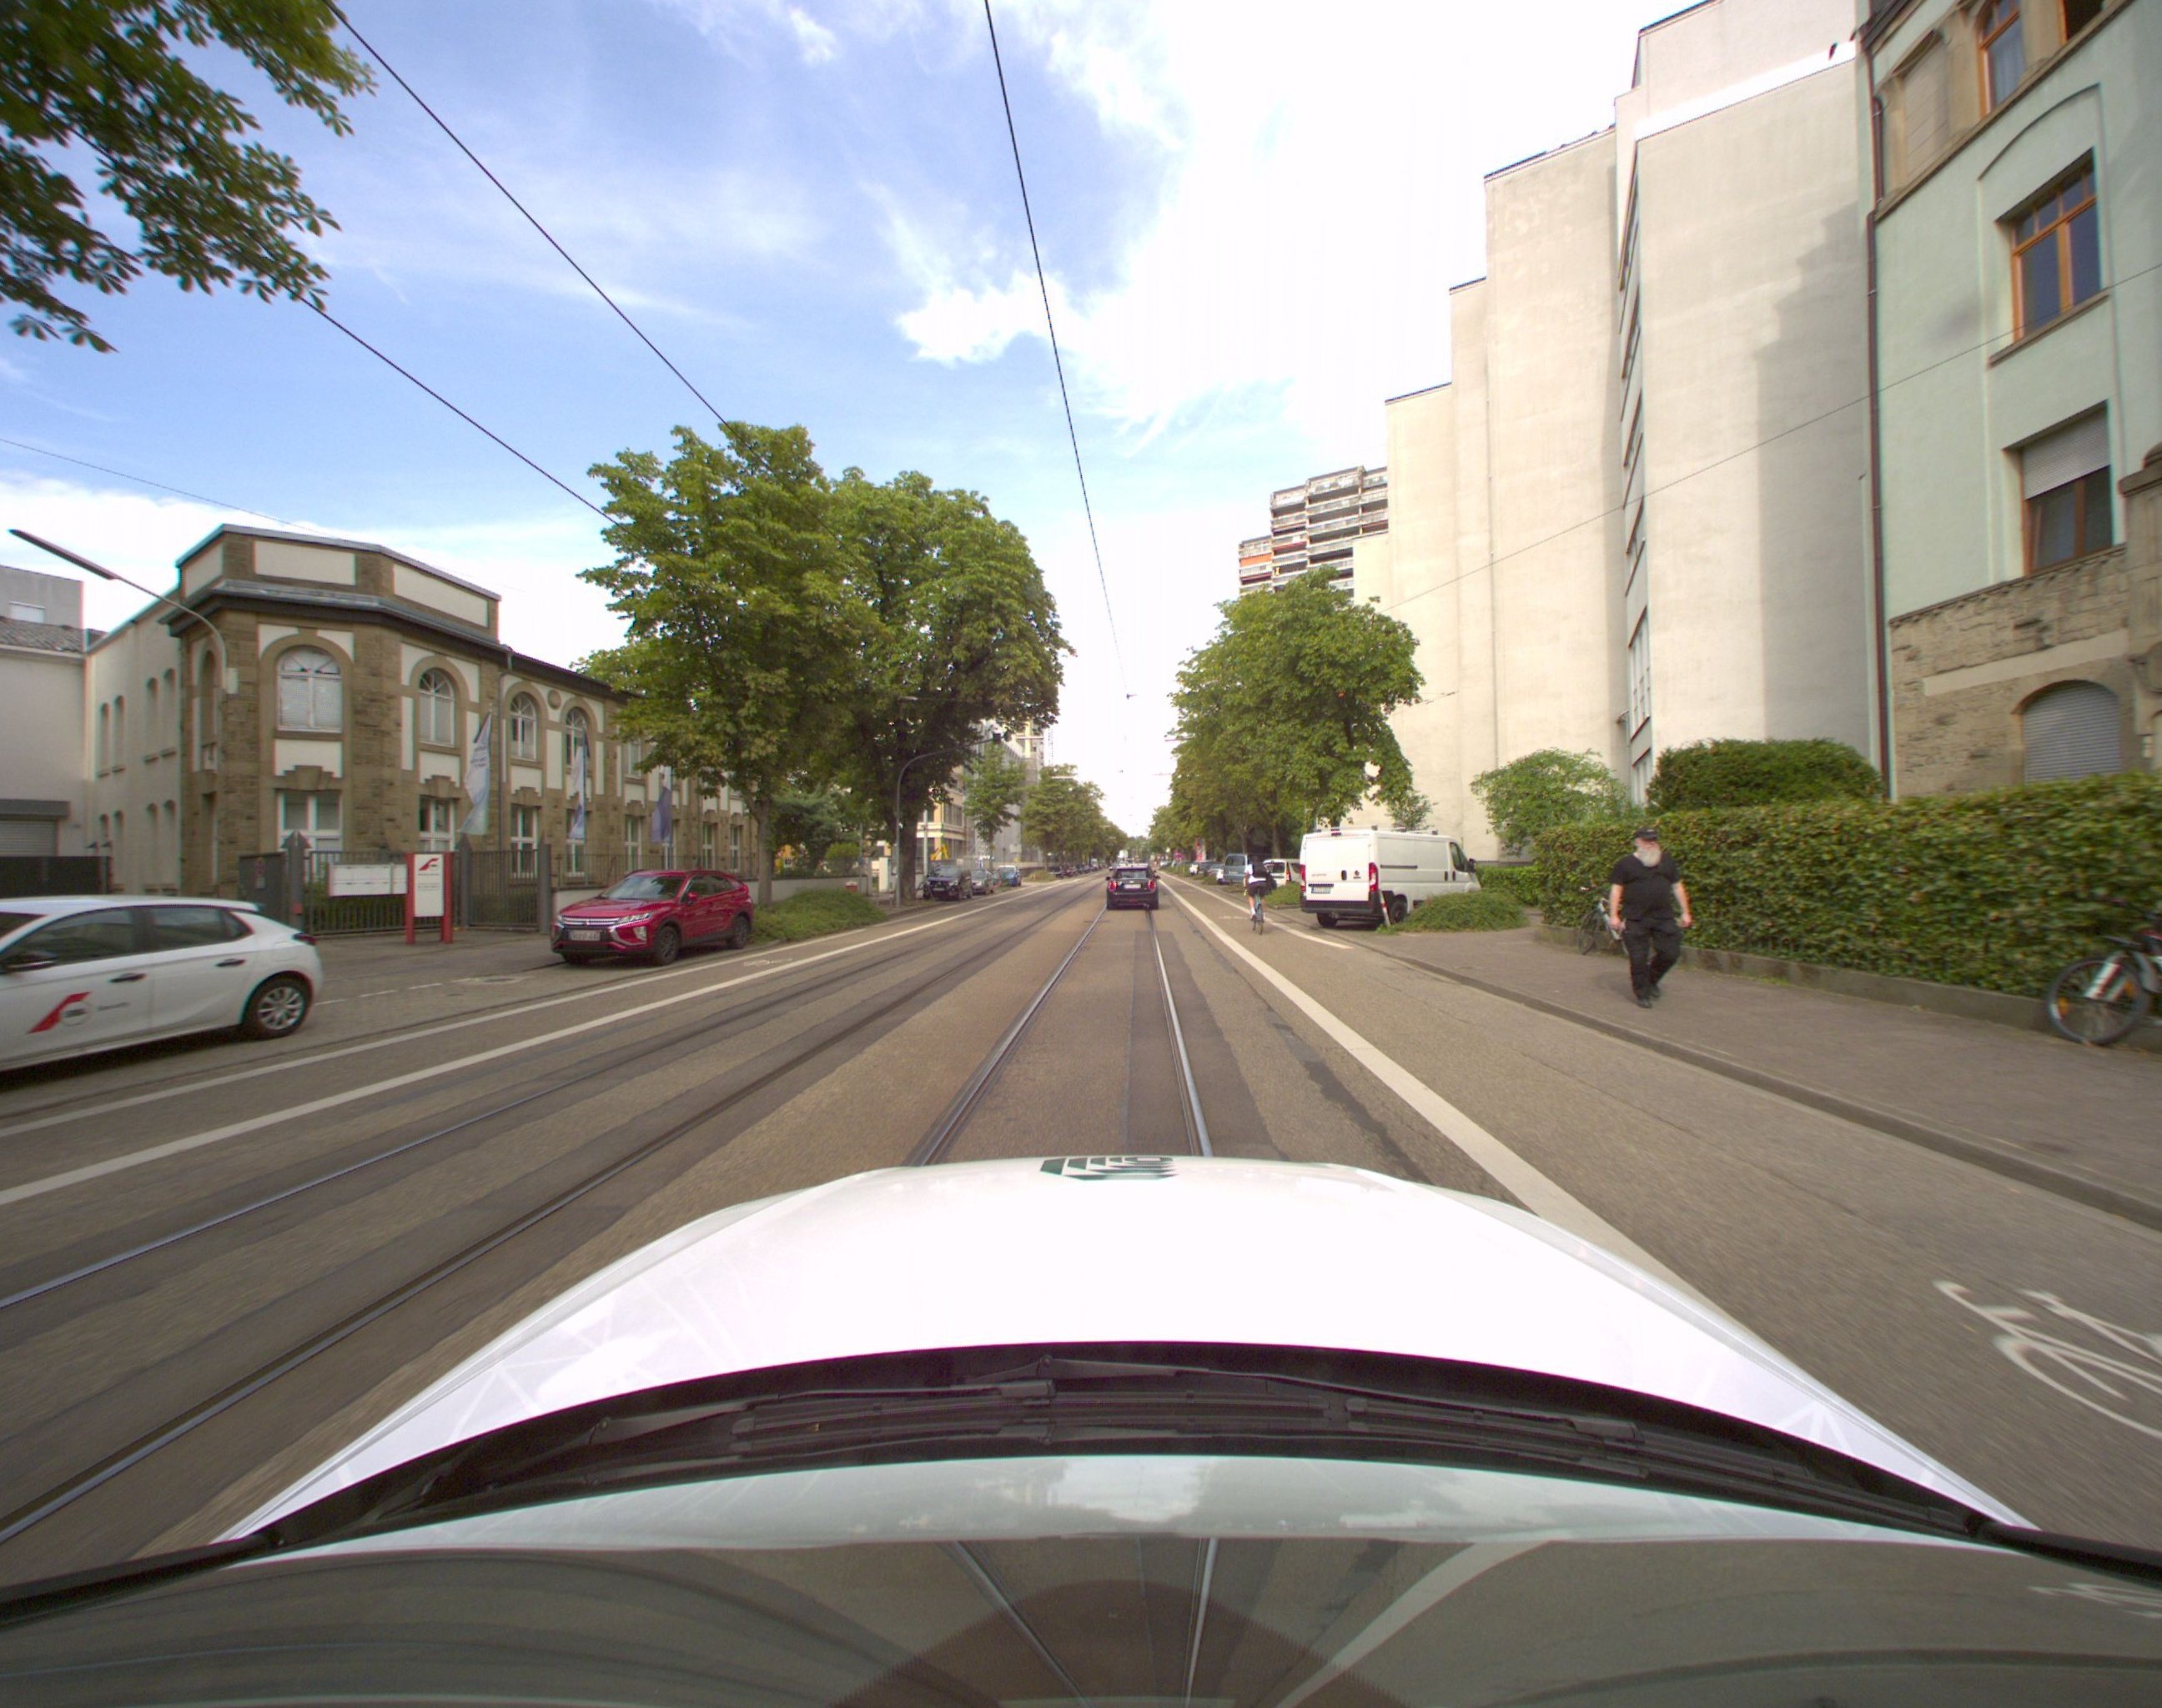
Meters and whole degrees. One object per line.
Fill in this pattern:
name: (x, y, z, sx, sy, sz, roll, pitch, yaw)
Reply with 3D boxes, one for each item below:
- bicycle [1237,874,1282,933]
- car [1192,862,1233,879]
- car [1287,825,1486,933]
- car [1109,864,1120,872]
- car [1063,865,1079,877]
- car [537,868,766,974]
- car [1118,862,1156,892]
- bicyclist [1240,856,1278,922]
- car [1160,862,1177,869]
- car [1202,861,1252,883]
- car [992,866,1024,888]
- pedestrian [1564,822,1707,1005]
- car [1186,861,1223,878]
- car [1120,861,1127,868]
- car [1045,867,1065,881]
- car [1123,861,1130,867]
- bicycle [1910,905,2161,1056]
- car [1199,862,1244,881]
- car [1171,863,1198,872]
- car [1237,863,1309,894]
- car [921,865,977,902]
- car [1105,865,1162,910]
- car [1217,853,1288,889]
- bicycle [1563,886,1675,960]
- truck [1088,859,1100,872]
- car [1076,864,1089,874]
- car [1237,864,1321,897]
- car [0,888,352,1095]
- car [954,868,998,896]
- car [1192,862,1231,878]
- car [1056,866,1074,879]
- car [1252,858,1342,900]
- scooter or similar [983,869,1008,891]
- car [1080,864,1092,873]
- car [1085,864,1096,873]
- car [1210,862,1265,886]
bicycle: (4.041, 1.091, 18.584, 0.654, 1.249, 2.126, 0, -1, 3)
car: (11.859, 1.466, 73.583, 3.550, 1.442, 1.606, 0, -1, -35)
car: (7.524, 0.566, 19.838, 4.983, 2.290, 2.357, 0, -1, -39)
car: (6.148, 2.565, 149.768, 1.827, 1.448, 4.557, -1, -1, 3)
car: (-1.280, 2.253, 109.945, 1.795, 1.583, 4.034, -2, -1, 3)
car: (-7.870, 1.134, 15.526, 1.714, 1.655, 4.545, 1, -1, 3)
car: (2.945, 1.192, 43.338, 1.787, 1.470, 4.000, 1, -1, 1)
bicyclist: (4.035, 0.777, 18.488, 0.655, 1.463, 1.179, 0, -1, 3)
car: (21.776, 2.853, 202.414, 3.973, 1.910, 2.000, 0, -1, 1)
car: (10.767, 1.317, 60.084, 3.759, 1.522, 1.621, 0, -1, -41)
car: (-5.038, 1.589, 56.813, 1.686, 1.487, 3.680, 0, -1, 3)
pedestrian: (5.653, 0.579, 8.364, 0.782, 1.733, 0.897, -3, -1, 3)
car: (12.114, 1.485, 79.762, 3.462, 1.573, 1.543, 0, -1, -35)
car: (12.017, 2.864, 228.228, 1.795, 1.823, 4.488, -2, -1, 3)
car: (-2.855, 2.189, 90.477, 1.795, 1.374, 4.034, -2, -1, 3)
car: (13.795, 3.127, 247.213, 1.795, 1.622, 4.488, -2, -1, 3)
bicycle: (7.265, 0.888, 6.189, 0.384, 0.907, 1.669, -2, -1, 8)
car: (11.556, 1.431, 66.868, 3.759, 1.459, 1.621, 0, -1, -41)
car: (15.903, 2.073, 125.334, 3.973, 1.425, 1.885, -1, -1, 0)
car: (9.579, 1.194, 40.515, 3.736, 1.433, 1.669, 0, -1, -41)
car: (-6.145, 1.349, 38.245, 1.748, 1.647, 4.055, 0, -1, 3)
car: (1.736, 1.092, 27.860, 1.787, 1.423, 4.001, 0, -1, 1)
car: (9.900, 0.956, 46.901, 4.298, 2.015, 1.809, 0, -1, -41)
bicycle: (7.502, 0.932, 11.457, 0.384, 0.907, 1.843, -2, -1, 2)
truck: (2.633, 2.299, 164.307, 2.062, 2.470, 4.903, -2, -1, 3)
car: (0.204, 2.417, 130.613, 1.795, 1.583, 4.034, -2, -1, 3)
car: (9.106, 1.167, 37.327, 3.995, 1.433, 1.670, 0, -1, -39)
car: (-8.885, 1.079, 6.839, 1.714, 1.424, 4.026, 1, -1, 3)
car: (-5.704, 1.512, 44.533, 1.686, 1.427, 3.871, 0, -1, 3)
car: (12.304, 1.488, 76.684, 3.462, 1.442, 1.543, 0, -1, -35)
car: (-1.946, 2.252, 101.088, 1.795, 1.583, 4.034, -2, -1, 3)
car: (9.096, 1.000, 34.173, 4.131, 1.668, 1.669, 0, -1, -42)
scooter or similar: (-5.525, 1.666, 52.595, 1.436, 1.344, 0.701, -2, -1, 5)
car: (0.811, 2.505, 139.832, 1.795, 1.583, 4.034, -2, -1, 3)
car: (1.711, 2.605, 151.215, 1.795, 1.583, 4.034, -2, -1, 3)
car: (10.269, 1.291, 53.356, 3.850, 1.460, 1.620, 0, -1, -43)
